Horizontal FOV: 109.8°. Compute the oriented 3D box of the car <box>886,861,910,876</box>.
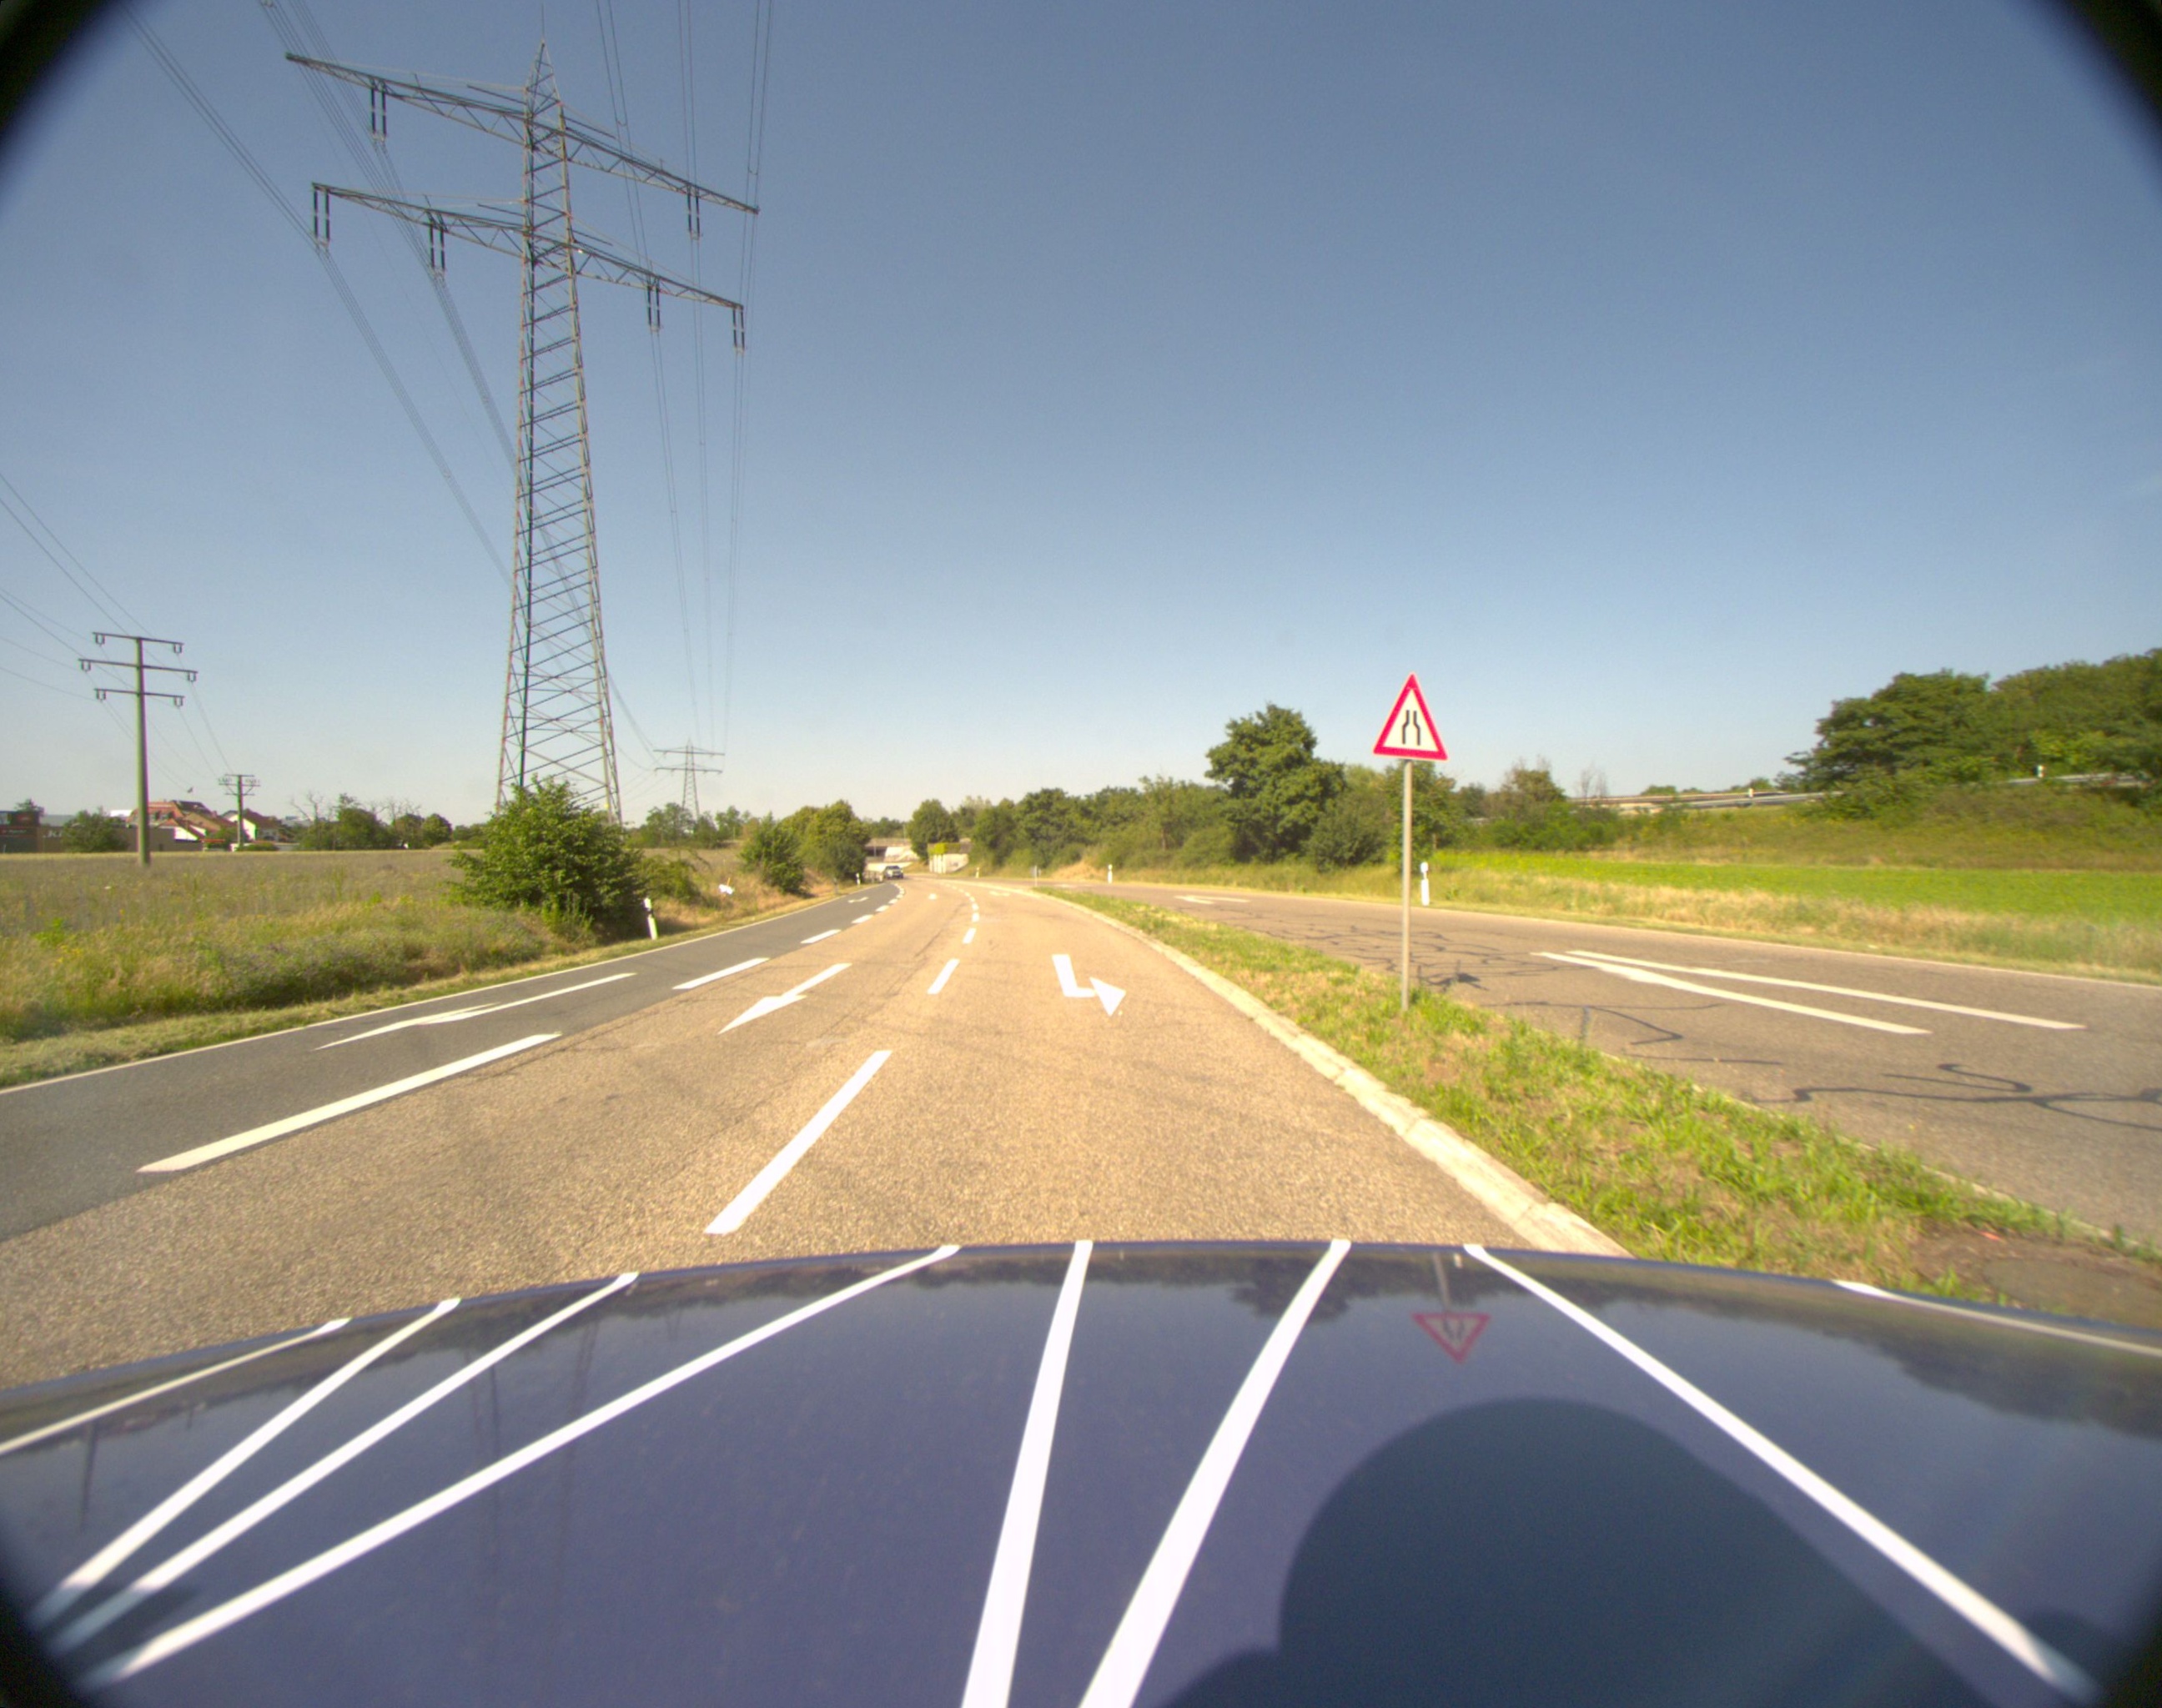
[{"bbox_3d":[-21.831,1.740,90.656,1.863,1.609,3.640,-2,0,-28],"label":"car"}]
